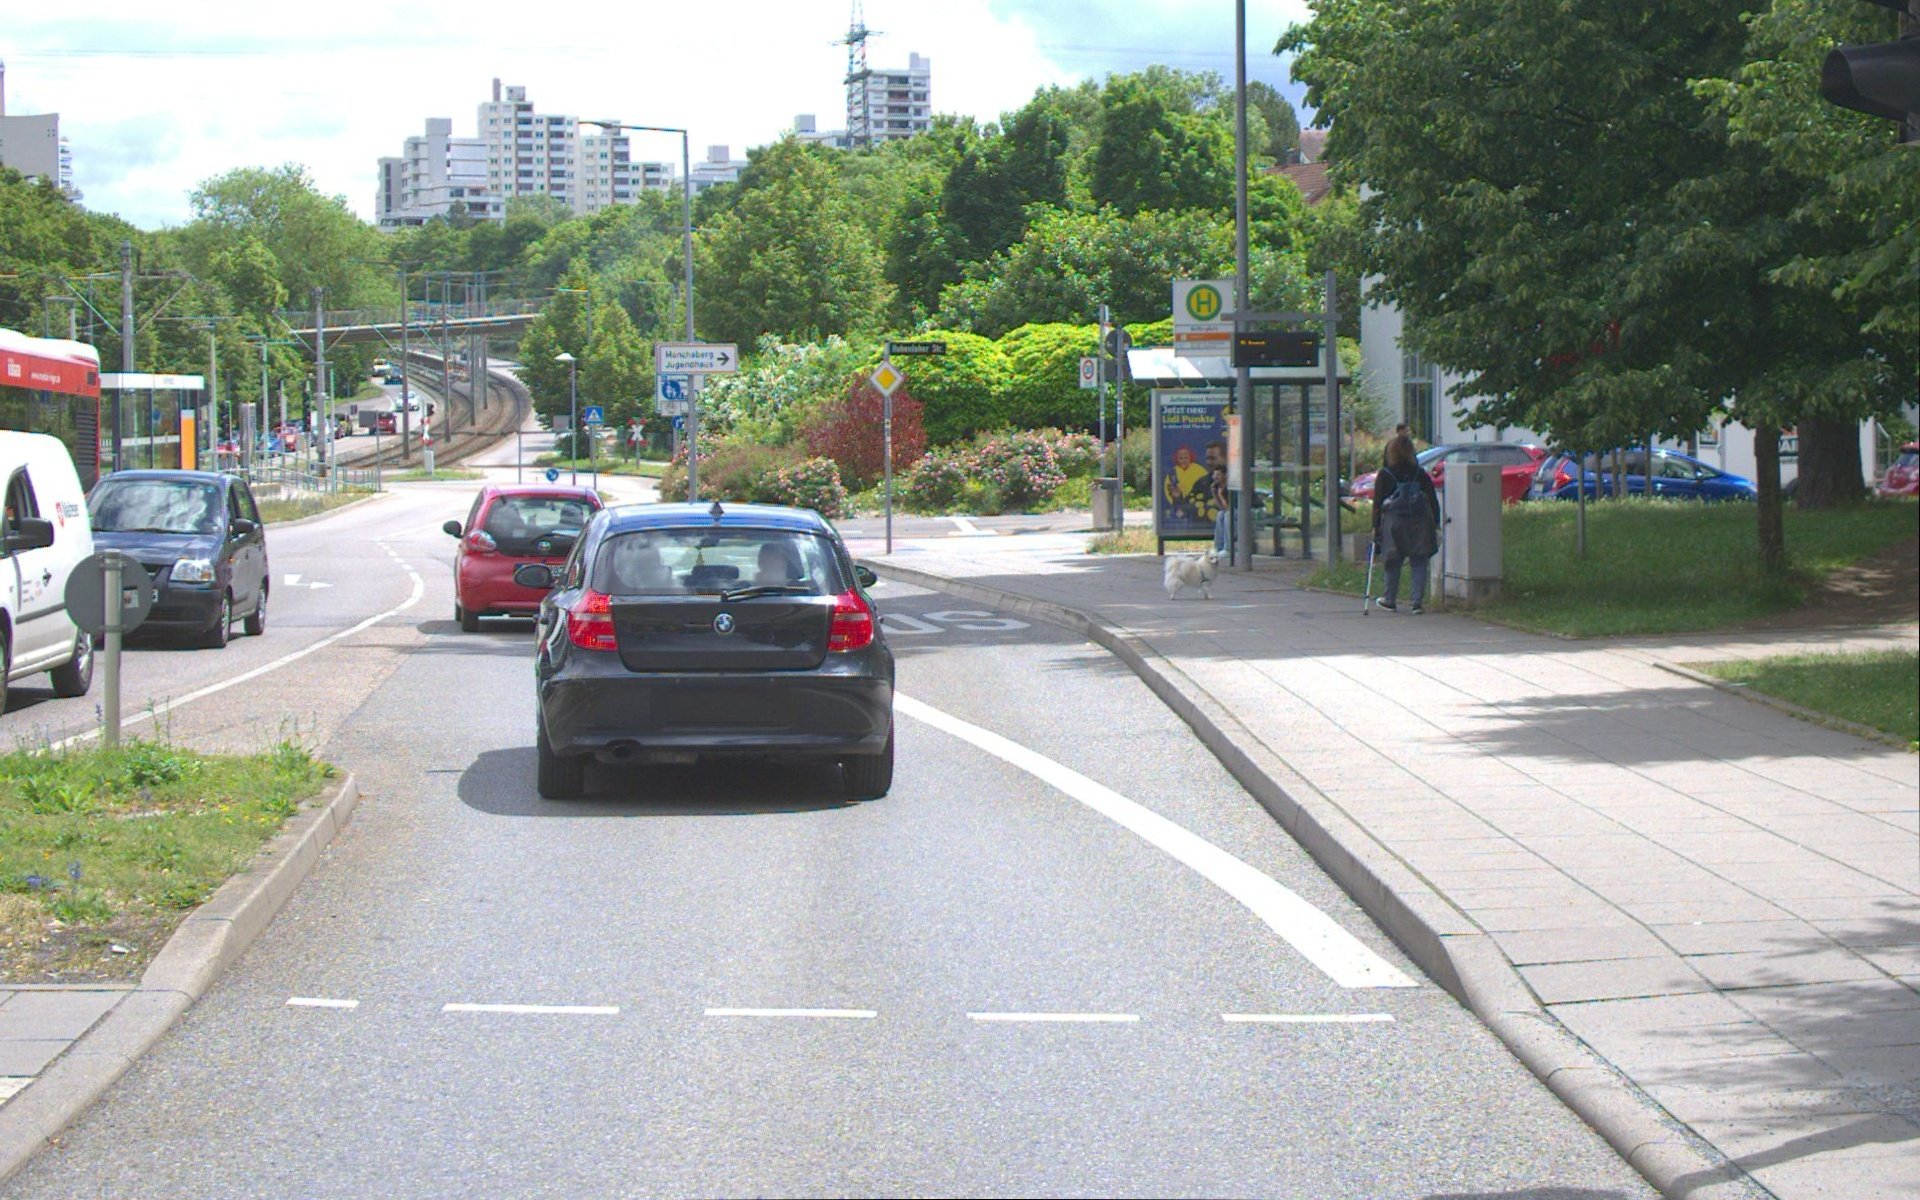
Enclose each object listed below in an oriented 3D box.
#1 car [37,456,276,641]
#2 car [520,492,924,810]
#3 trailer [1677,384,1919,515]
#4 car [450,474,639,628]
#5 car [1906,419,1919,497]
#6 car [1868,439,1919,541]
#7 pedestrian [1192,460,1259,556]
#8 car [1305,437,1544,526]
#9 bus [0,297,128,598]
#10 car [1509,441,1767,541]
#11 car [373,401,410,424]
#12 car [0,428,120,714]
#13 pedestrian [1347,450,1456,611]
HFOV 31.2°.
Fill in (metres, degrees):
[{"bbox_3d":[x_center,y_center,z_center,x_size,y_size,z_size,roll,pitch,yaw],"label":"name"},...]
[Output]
[{"bbox_3d":[-7.220,-0.502,31.161,1.529,1.545,3.733,1,2,-4],"label":"car"},{"bbox_3d":[-1.249,0.171,17.749,1.815,1.416,4.001,-1,2,-5],"label":"car"},{"bbox_3d":[16.536,-2.958,66.975,4.536,2.478,2.222,0,4,-5],"label":"trailer"},{"bbox_3d":[-4.244,-0.534,34.741,1.765,1.427,3.480,-1,2,-8],"label":"car"},{"bbox_3d":[20.893,-2.825,67.343,4.080,1.497,2.001,-2,4,-5],"label":"car"},{"bbox_3d":[17.418,-1.874,57.896,3.686,1.638,1.830,0,4,-6],"label":"car"},{"bbox_3d":[3.530,-1.225,45.763,0.827,1.254,0.686,-1,3,-1],"label":"pedestrian"},{"bbox_3d":[8.898,-2.296,66.041,4.155,1.556,2.001,-1,5,-8],"label":"car"},{"bbox_3d":[-11.237,-1.625,37.201,2.725,3.059,8.965,0,2,-3],"label":"bus"},{"bbox_3d":[11.269,-1.831,57.282,3.793,1.451,1.897,-2,4,-6],"label":"car"},{"bbox_3d":[-37.646,-12.390,227.573,1.720,1.497,2.967,0,3,4],"label":"car"},{"bbox_3d":[-6.757,-0.218,22.092,1.761,1.656,4.507,-1,4,-3],"label":"car"},{"bbox_3d":[3.976,-0.628,31.011,0.819,1.420,0.830,-1,2,-3],"label":"pedestrian"}]
